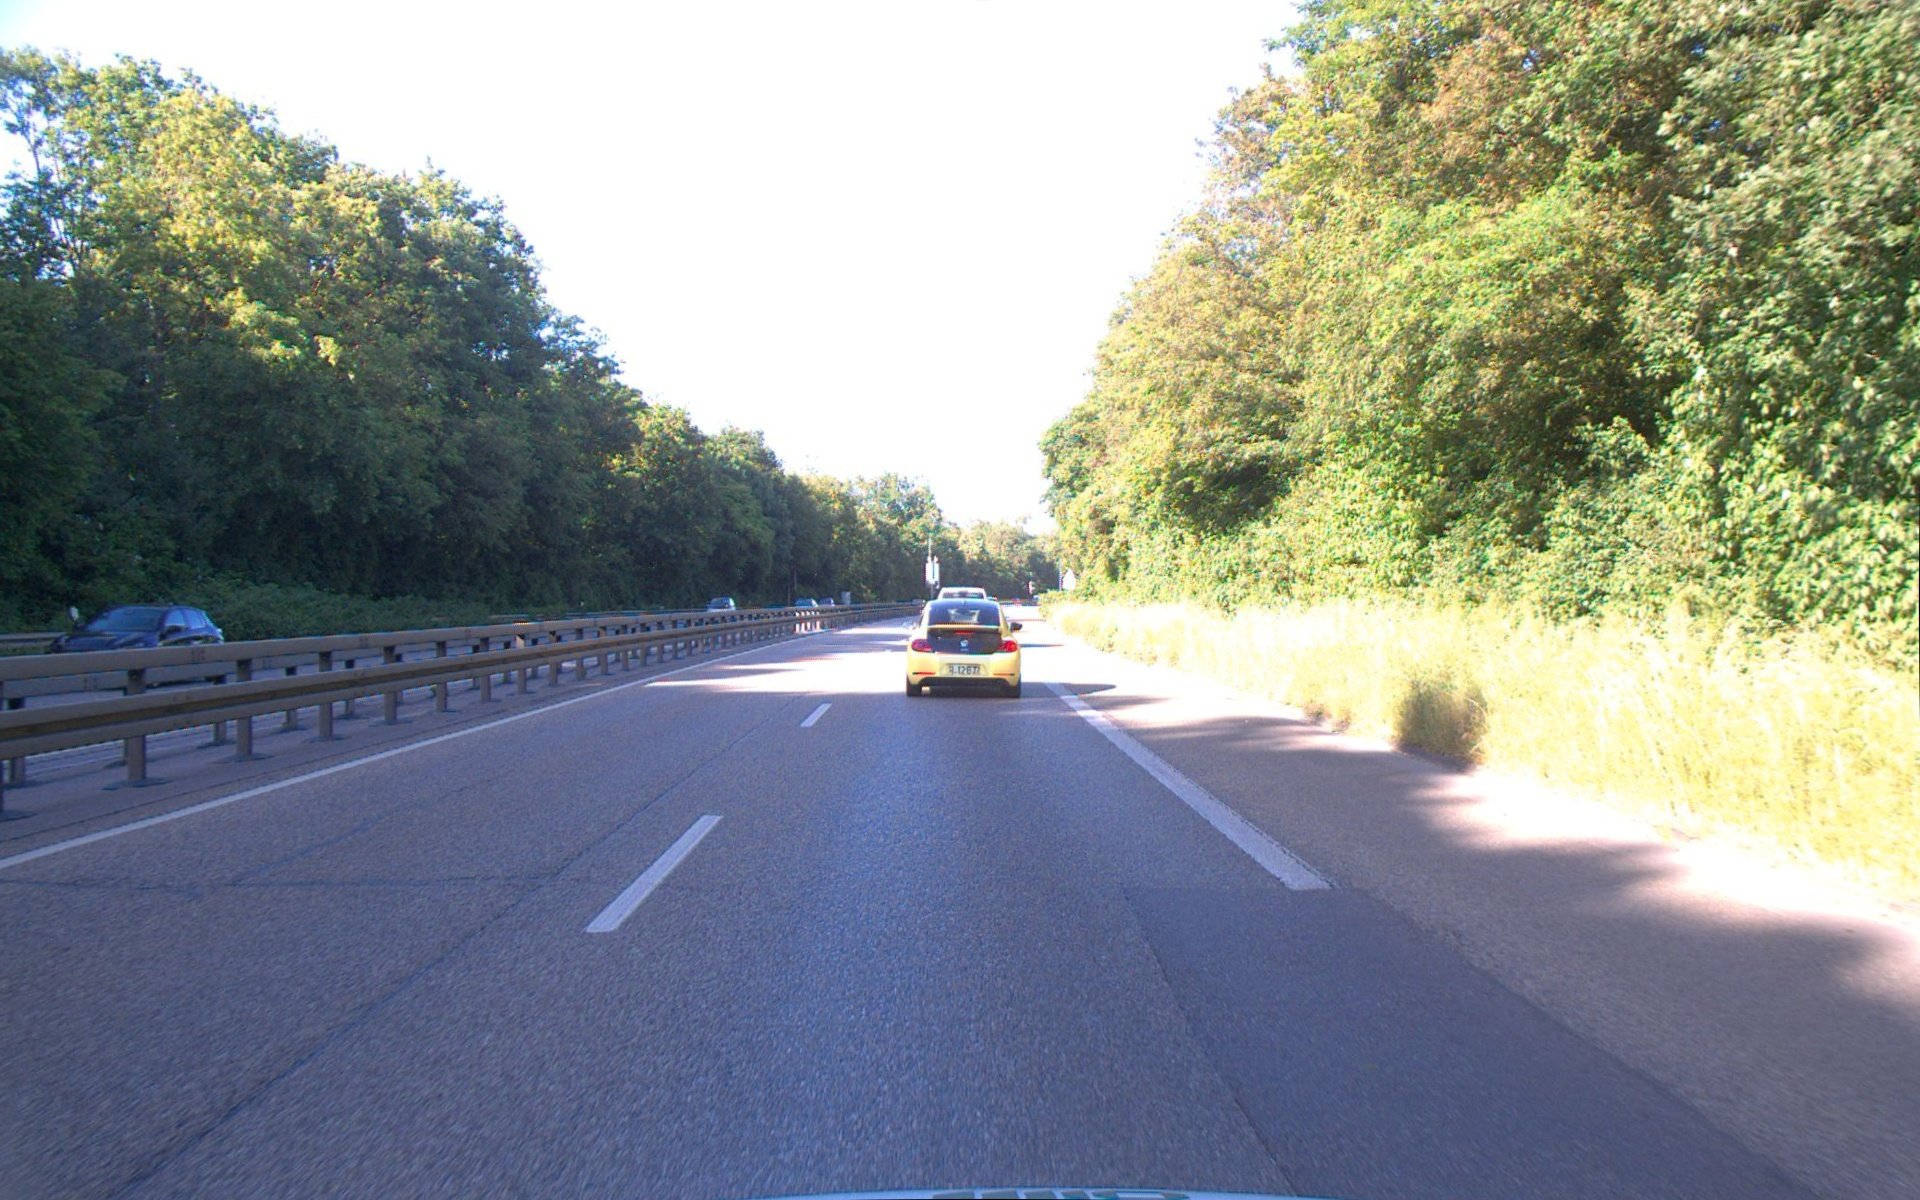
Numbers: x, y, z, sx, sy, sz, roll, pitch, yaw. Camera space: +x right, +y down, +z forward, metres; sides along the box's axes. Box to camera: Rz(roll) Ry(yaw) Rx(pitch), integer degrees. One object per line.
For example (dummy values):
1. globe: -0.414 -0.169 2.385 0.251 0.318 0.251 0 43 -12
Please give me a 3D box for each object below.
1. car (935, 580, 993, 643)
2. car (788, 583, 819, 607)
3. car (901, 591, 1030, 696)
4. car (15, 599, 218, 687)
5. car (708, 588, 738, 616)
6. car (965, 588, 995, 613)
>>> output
1. car: 0.164 0.351 51.346 1.705 1.862 3.423 1 0 1
2. car: -12.446 -0.419 131.770 1.953 1.780 4.551 -2 0 0
3. car: 0.126 0.634 26.056 1.899 1.534 3.423 0 0 1
4. car: -14.723 0.705 29.123 1.573 1.448 3.999 0 0 -1
5. car: -14.354 0.113 100.168 1.385 1.648 2.875 0 0 0
6. car: 1.538 0.042 130.342 2.217 1.908 5.075 1 0 -1
